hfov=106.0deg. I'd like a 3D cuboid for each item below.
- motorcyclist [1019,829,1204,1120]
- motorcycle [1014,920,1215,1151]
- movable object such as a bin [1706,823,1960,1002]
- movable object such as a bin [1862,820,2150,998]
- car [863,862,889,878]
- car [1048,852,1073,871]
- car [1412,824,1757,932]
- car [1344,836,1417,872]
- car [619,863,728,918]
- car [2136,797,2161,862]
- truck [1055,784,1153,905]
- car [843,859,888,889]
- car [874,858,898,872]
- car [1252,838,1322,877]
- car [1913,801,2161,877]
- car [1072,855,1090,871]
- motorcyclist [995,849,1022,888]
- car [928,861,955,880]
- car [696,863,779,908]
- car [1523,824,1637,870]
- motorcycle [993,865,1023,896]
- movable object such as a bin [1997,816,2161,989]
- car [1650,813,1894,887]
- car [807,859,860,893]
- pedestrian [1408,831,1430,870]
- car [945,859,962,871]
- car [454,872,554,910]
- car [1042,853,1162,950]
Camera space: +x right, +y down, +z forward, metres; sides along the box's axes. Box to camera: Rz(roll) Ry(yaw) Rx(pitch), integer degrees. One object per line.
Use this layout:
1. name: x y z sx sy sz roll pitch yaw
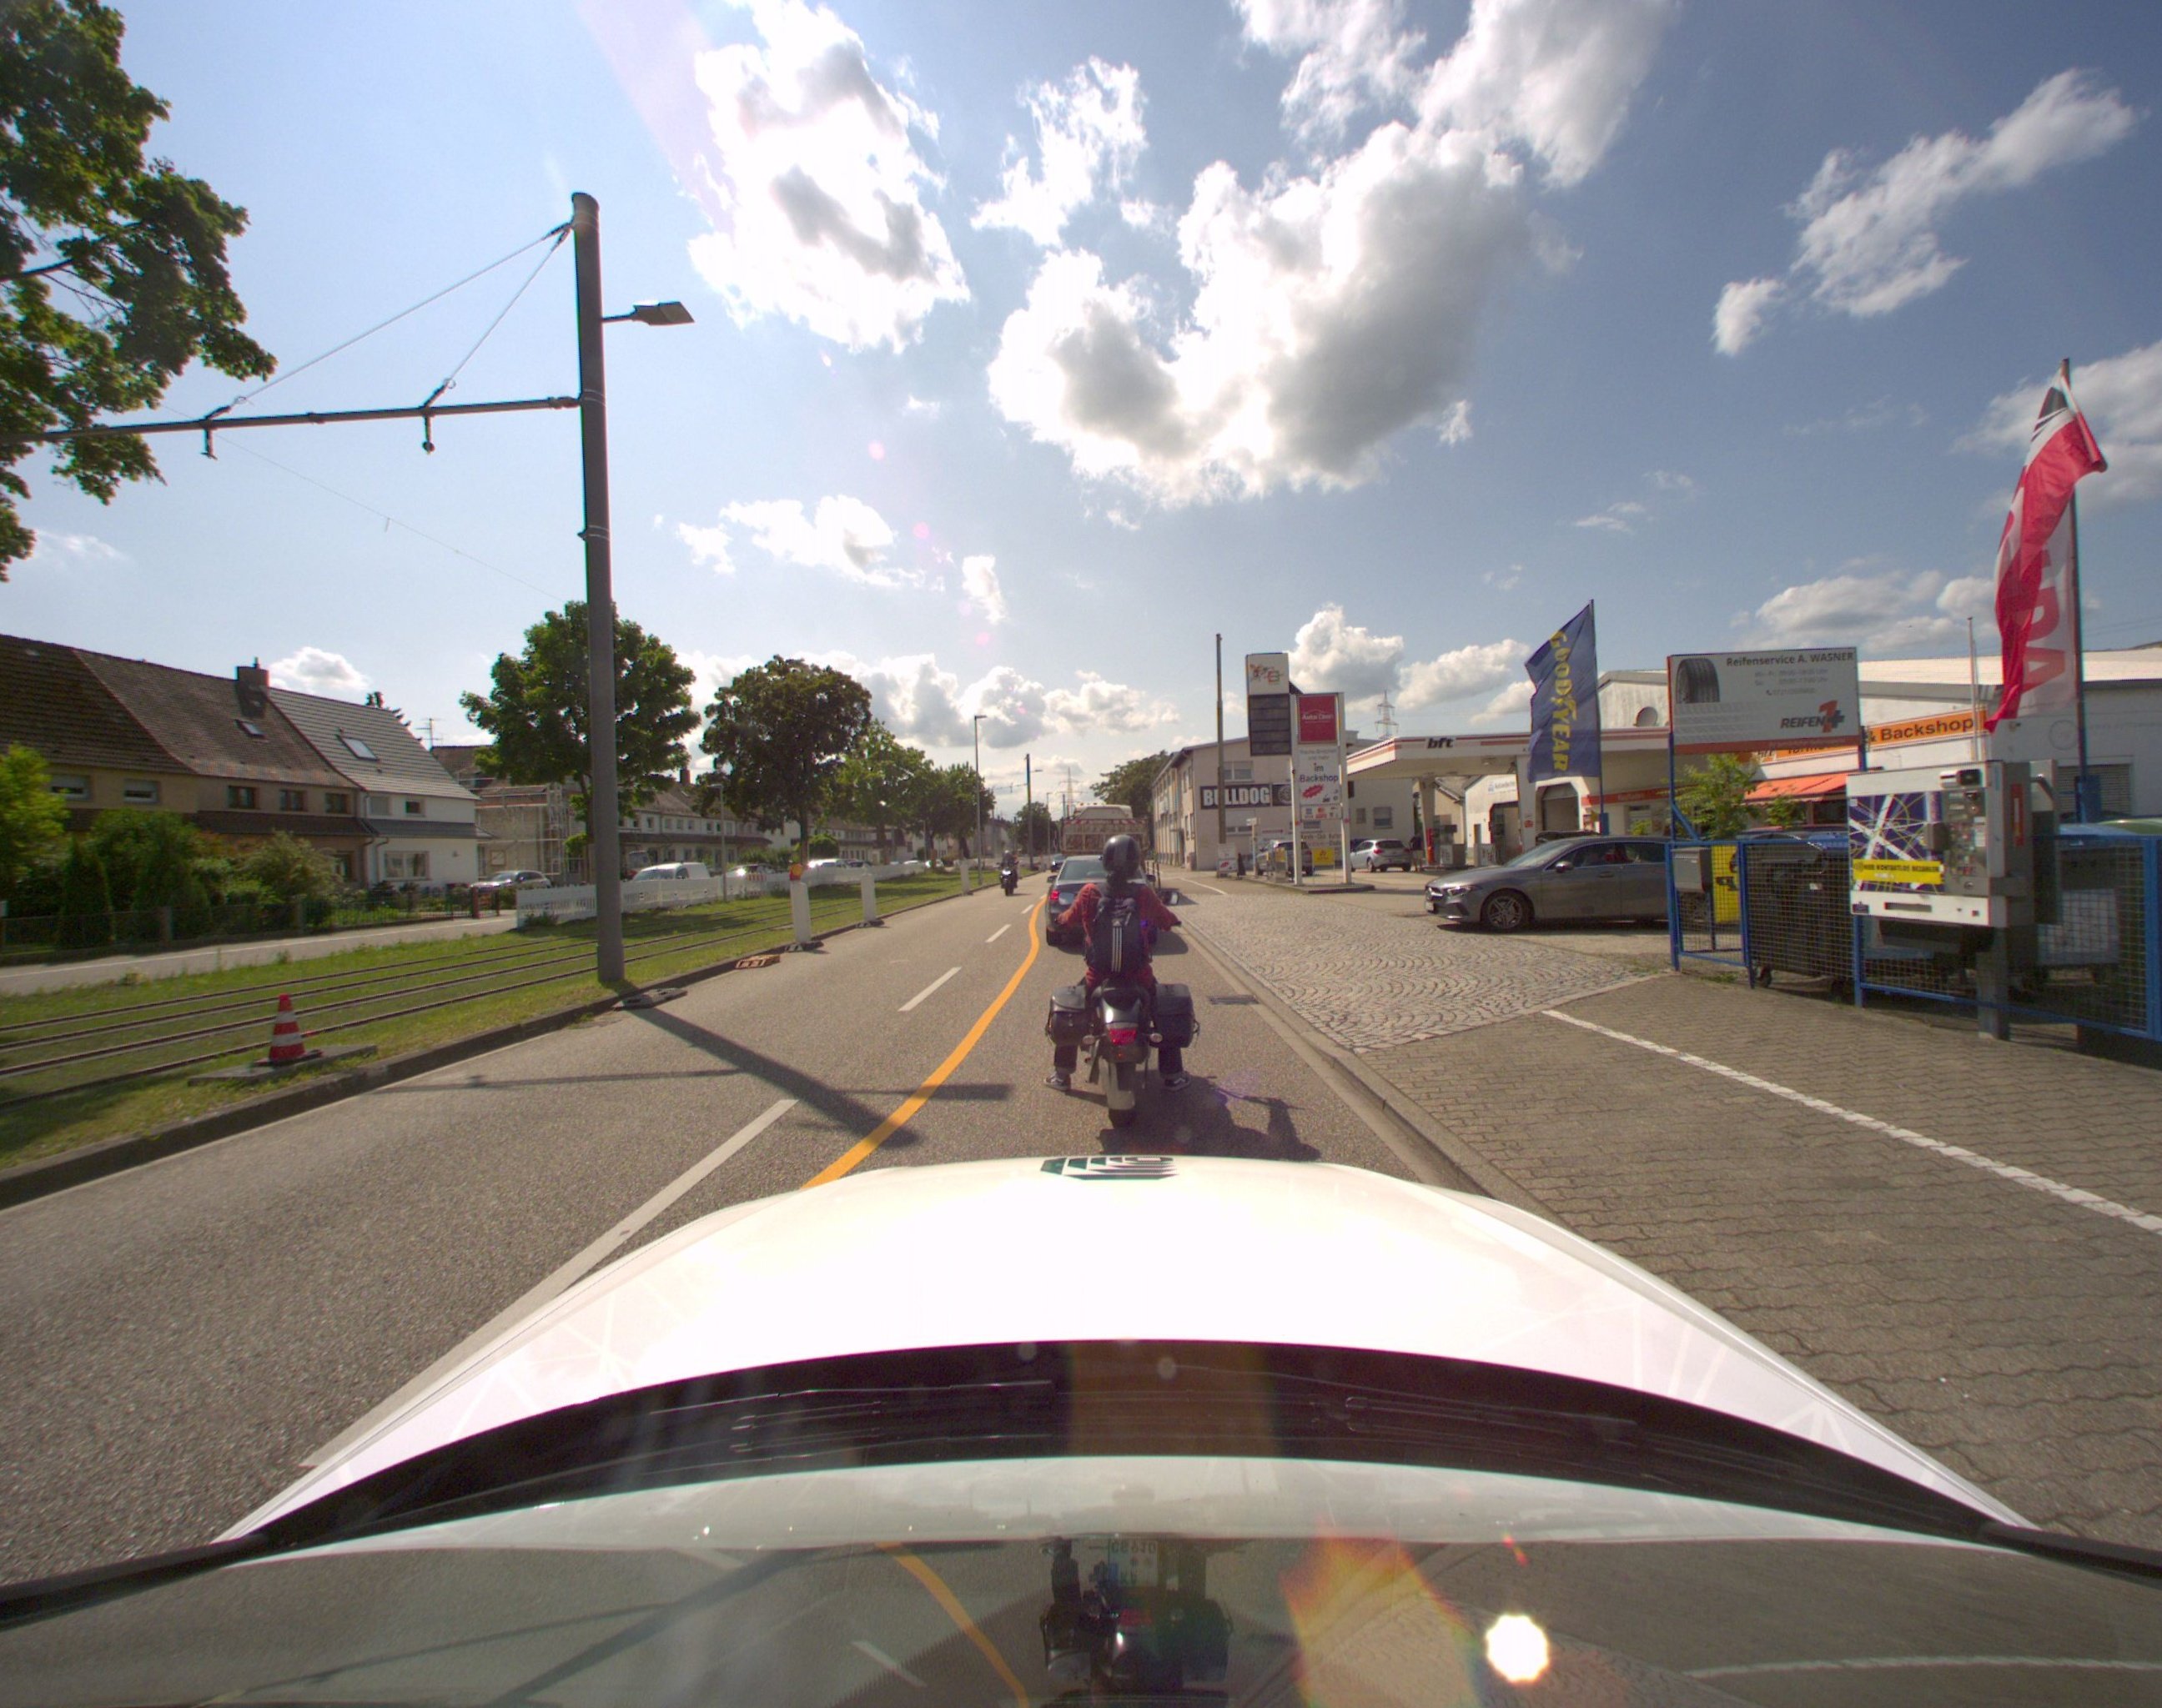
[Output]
1. motorcyclist: 0.187 0.678 5.141 0.975 1.602 1.088 -2 0 1
2. motorcycle: 0.212 1.027 5.445 0.975 0.897 2.654 -2 0 2
3. movable object such as a bin: 6.697 0.480 7.359 1.104 1.436 1.244 -2 0 1
4. movable object such as a bin: 8.091 0.446 7.219 1.104 1.396 1.244 -2 0 1
5. car: -24.387 1.841 97.041 1.769 1.722 4.130 -2 0 2
6. car: -1.685 0.598 68.307 1.816 1.452 4.326 -3 0 2
7. car: 7.612 0.364 12.708 4.247 1.415 1.678 -2 0 9
8. car: 13.482 -0.008 36.920 1.800 1.503 3.832 -2 0 -1
9. car: -15.459 1.320 31.155 1.769 1.821 4.366 -2 0 2
10. car: 26.533 -0.637 18.004 4.180 1.463 1.587 -2 0 2
11. truck: 0.780 -0.292 26.934 2.628 3.296 8.059 -2 0 2
12. car: -14.800 1.338 56.037 1.769 1.805 4.130 -2 0 2
13. car: -25.159 1.404 105.202 1.769 1.722 4.130 -2 0 2
14. car: 9.122 0.151 36.453 1.665 1.562 4.235 -2 0 -6
15. car: 21.529 -0.340 18.167 4.180 1.463 1.587 -2 0 2
16. car: 0.011 1.030 92.333 1.816 1.602 4.326 -3 0 2
17. motorcyclist: -2.652 0.521 29.890 0.866 1.378 0.800 -2 0 -1
18. car: -13.726 1.634 80.454 1.769 1.722 4.130 -2 0 2
19. car: -15.402 1.388 36.798 1.769 1.774 4.230 -2 0 2
20. car: 18.125 -0.247 29.785 1.800 1.503 3.833 -2 0 0
21. motorcycle: -2.636 0.943 29.723 0.866 1.021 2.244 -2 0 -1
22. movable object such as a bin: 9.494 0.376 7.131 1.397 1.396 1.338 -2 0 1
23. car: 15.780 -0.088 18.759 4.180 1.463 1.587 -2 0 2
24. car: -15.061 1.331 49.821 1.769 1.867 4.130 -2 0 2
25. pedestrian: 14.657 -0.131 35.319 0.701 1.656 0.551 -2 0 37
26. car: -19.634 1.636 125.916 1.769 1.722 4.130 -2 0 2
27. car: -27.432 1.730 38.893 1.769 1.519 4.002 -2 0 2
28. car: 0.386 0.717 14.402 1.816 1.452 4.002 0 0 2
